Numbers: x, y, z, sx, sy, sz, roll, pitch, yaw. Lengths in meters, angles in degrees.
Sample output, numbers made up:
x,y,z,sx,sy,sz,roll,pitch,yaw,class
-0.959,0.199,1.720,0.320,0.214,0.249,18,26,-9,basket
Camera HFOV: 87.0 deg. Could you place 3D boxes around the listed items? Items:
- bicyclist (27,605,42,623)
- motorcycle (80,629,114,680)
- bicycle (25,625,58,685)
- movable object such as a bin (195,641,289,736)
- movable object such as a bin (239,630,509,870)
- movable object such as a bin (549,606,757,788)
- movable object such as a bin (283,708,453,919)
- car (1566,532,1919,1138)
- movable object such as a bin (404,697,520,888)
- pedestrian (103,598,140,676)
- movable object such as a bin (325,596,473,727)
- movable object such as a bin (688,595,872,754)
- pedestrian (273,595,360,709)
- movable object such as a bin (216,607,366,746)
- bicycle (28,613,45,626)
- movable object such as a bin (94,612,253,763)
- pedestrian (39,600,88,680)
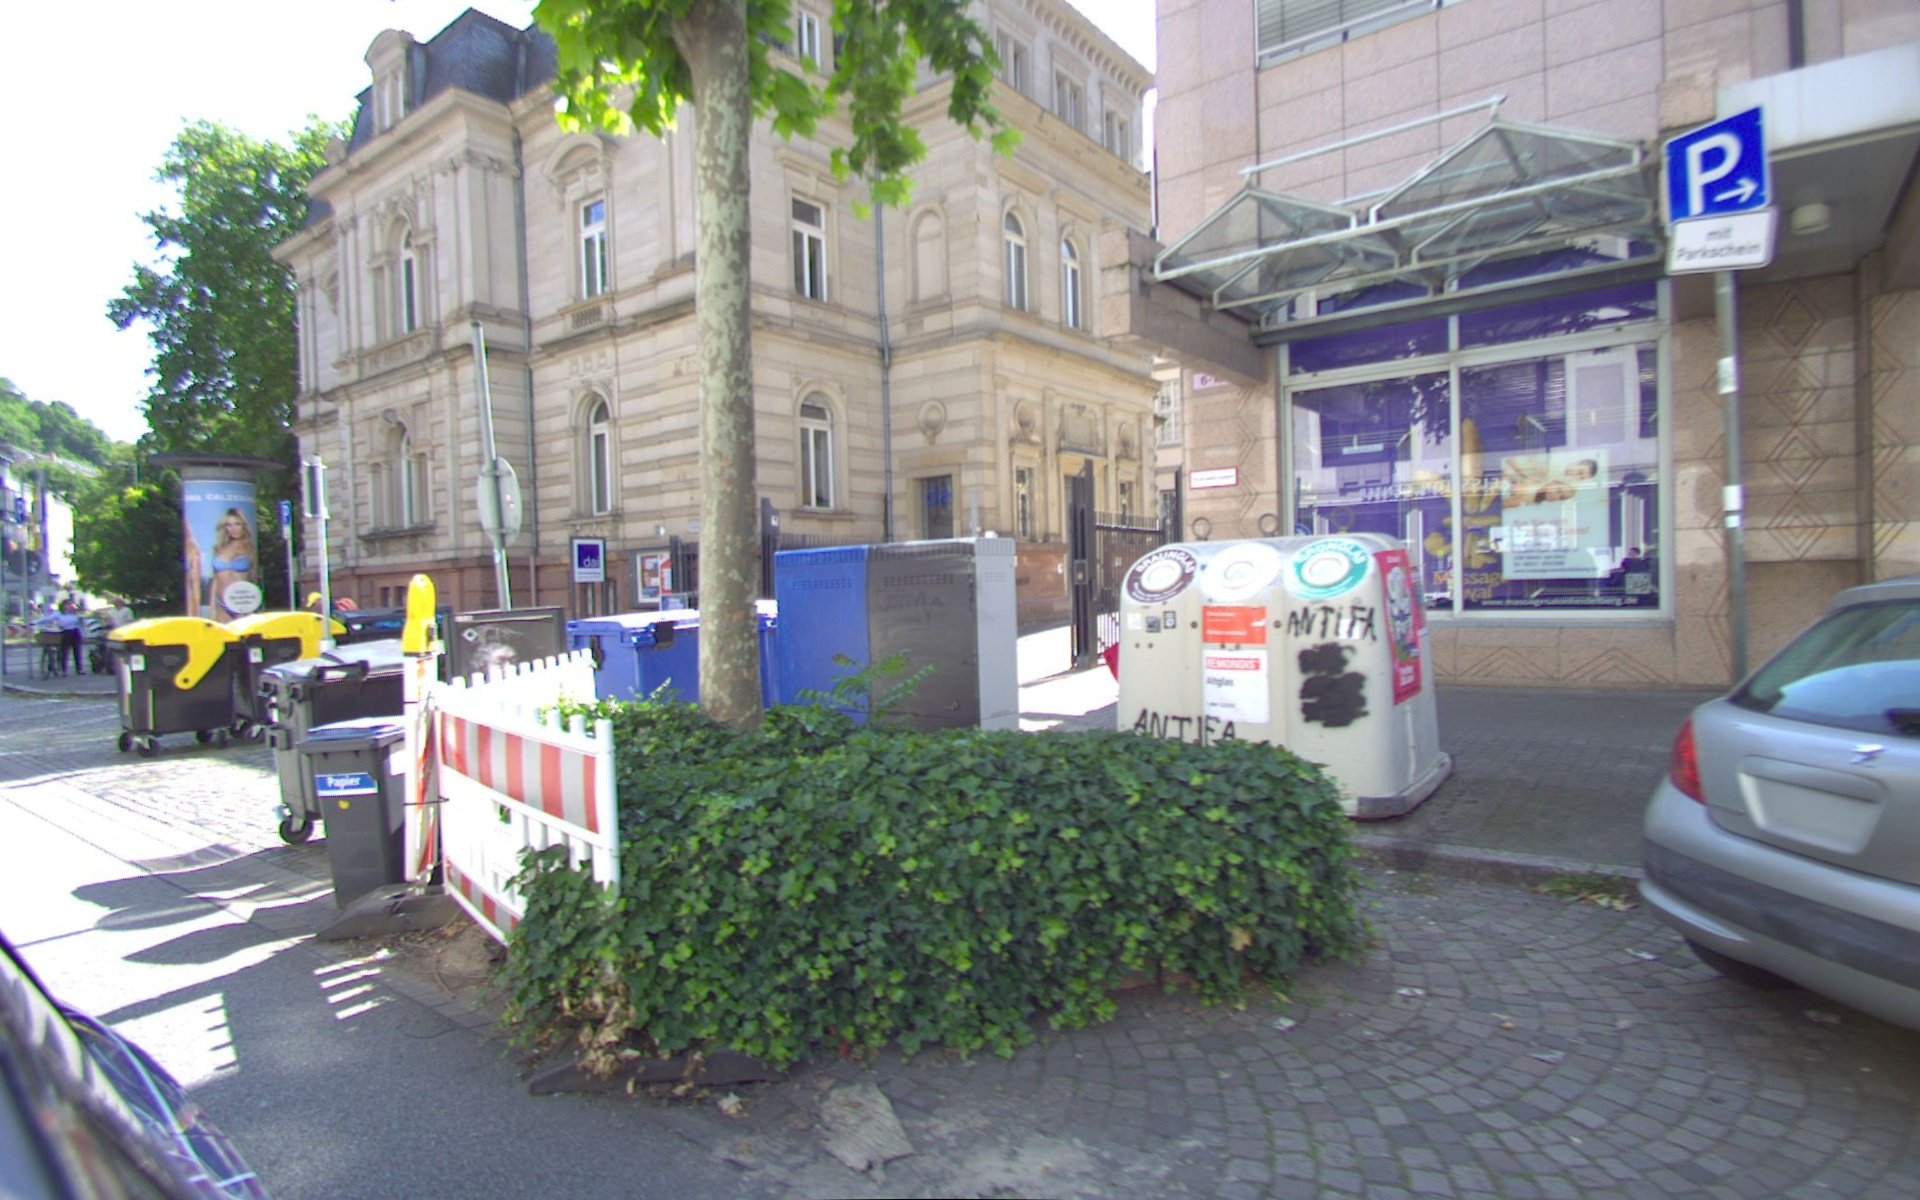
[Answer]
x,y,z,sx,sy,sz,roll,pitch,yaw,class
-85.913,1.305,93.947,0.753,1.648,0.946,-1,1,-30,bicyclist
-19.036,1.170,22.307,0.448,1.005,2.163,-4,3,-42,motorcycle
-19.796,1.164,21.832,0.424,1.128,2.246,-4,4,-41,bicycle
-9.163,1.118,12.926,0.654,1.106,0.718,-3,1,30,movable object such as a bin
-3.786,0.888,6.597,0.852,1.309,1.265,-1,1,38,movable object such as a bin
-2.558,0.762,8.488,1.078,1.309,1.198,-3,1,38,movable object such as a bin
-2.981,1.047,5.126,0.495,0.946,0.553,-2,-1,12,movable object such as a bin
4.296,0.479,2.957,3.992,1.505,1.940,-3,1,-11,car
-2.827,1.055,5.732,0.492,0.946,0.556,0,-2,-36,movable object such as a bin
-18.762,0.803,22.640,0.542,1.677,0.938,-2,1,-44,pedestrian
-7.083,0.743,12.775,1.364,1.461,1.196,-3,1,44,movable object such as a bin
-1.688,0.663,9.561,1.126,1.309,1.197,-3,1,38,movable object such as a bin
-10.246,0.803,16.127,0.746,1.738,0.882,-1,1,31,pedestrian
-7.954,0.869,12.019,1.439,1.461,1.111,-3,1,44,movable object such as a bin
-86.116,1.848,94.339,0.747,1.129,2.008,-1,2,-31,bicycle
-8.713,0.923,11.201,1.439,1.461,1.111,-3,1,44,movable object such as a bin
-19.745,0.858,22.290,0.690,1.707,0.687,0,1,40,pedestrian
